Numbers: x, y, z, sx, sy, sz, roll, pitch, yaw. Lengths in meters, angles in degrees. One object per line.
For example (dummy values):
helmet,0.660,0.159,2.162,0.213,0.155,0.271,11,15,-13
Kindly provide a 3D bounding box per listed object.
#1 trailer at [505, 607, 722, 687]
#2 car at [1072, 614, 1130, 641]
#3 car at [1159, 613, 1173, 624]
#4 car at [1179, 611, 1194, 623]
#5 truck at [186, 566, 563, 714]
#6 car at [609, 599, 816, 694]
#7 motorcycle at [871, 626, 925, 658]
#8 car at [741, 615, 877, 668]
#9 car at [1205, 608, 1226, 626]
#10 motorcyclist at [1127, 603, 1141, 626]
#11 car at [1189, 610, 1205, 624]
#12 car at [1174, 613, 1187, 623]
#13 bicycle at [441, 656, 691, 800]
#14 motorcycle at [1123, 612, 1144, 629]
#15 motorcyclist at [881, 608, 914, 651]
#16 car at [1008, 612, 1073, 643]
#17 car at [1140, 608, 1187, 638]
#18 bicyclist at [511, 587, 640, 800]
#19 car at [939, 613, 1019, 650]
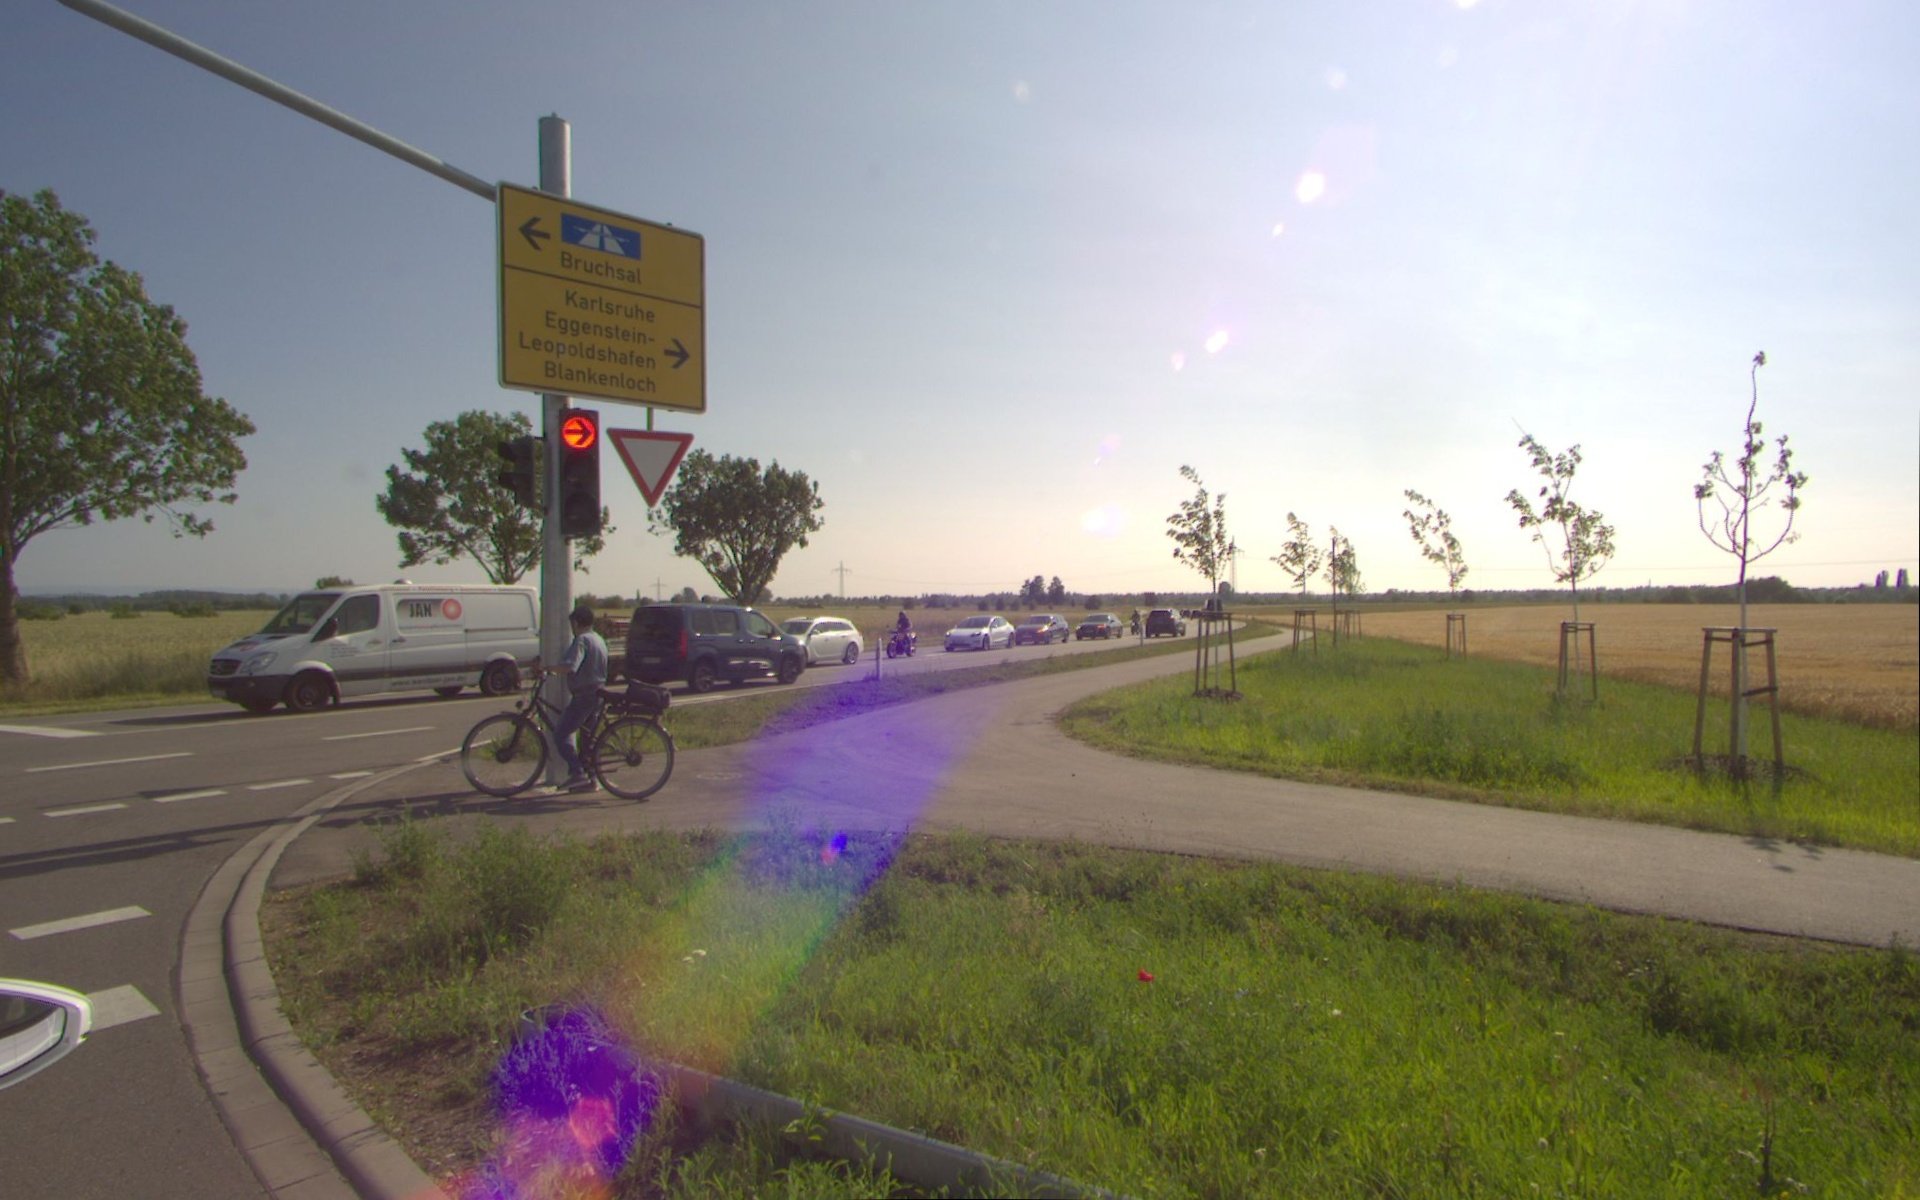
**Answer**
trailer,-8.285,1.069,24.484,1.951,1.760,4.990,-2,-1,29
car,8.174,1.553,57.724,1.866,1.455,4.779,-1,-1,27
car,30.521,2.758,148.342,1.855,1.646,3.999,-3,-2,10
car,36.221,2.735,160.156,1.899,1.822,3.886,0,-2,8
truck,-11.110,0.701,19.666,2.041,2.436,6.168,-1,-1,31
car,-5.280,0.967,21.962,1.819,1.857,4.446,-1,-1,31
motorcycle,-2.253,1.518,36.595,0.885,1.057,2.419,-1,0,26
car,-4.611,1.248,31.315,1.738,1.511,4.689,-1,-1,28
car,30.538,2.019,119.861,2.022,2.039,4.001,0,-2,7
motorcyclist,11.752,0.979,67.641,0.669,1.515,0.844,-1,0,25
car,33.502,2.443,141.750,1.780,1.907,4.001,0,-2,8
car,39.428,3.176,179.358,1.899,1.715,3.887,0,-2,8
bicycle,-3.404,1.119,8.829,1.910,1.165,0.681,3,-2,-13
motorcycle,11.743,1.398,67.729,0.859,1.087,1.962,-1,0,25
motorcyclist,-2.278,1.067,36.537,0.670,1.535,1.176,-1,0,27
car,4.082,1.368,50.045,1.866,1.480,4.292,-1,-1,25
car,12.118,1.348,59.434,1.946,1.703,4.095,-1,-1,23
bicyclist,-3.368,0.815,8.842,0.901,1.787,0.619,3,-2,-13
car,0.871,1.319,43.037,1.865,1.486,4.261,0,0,25
